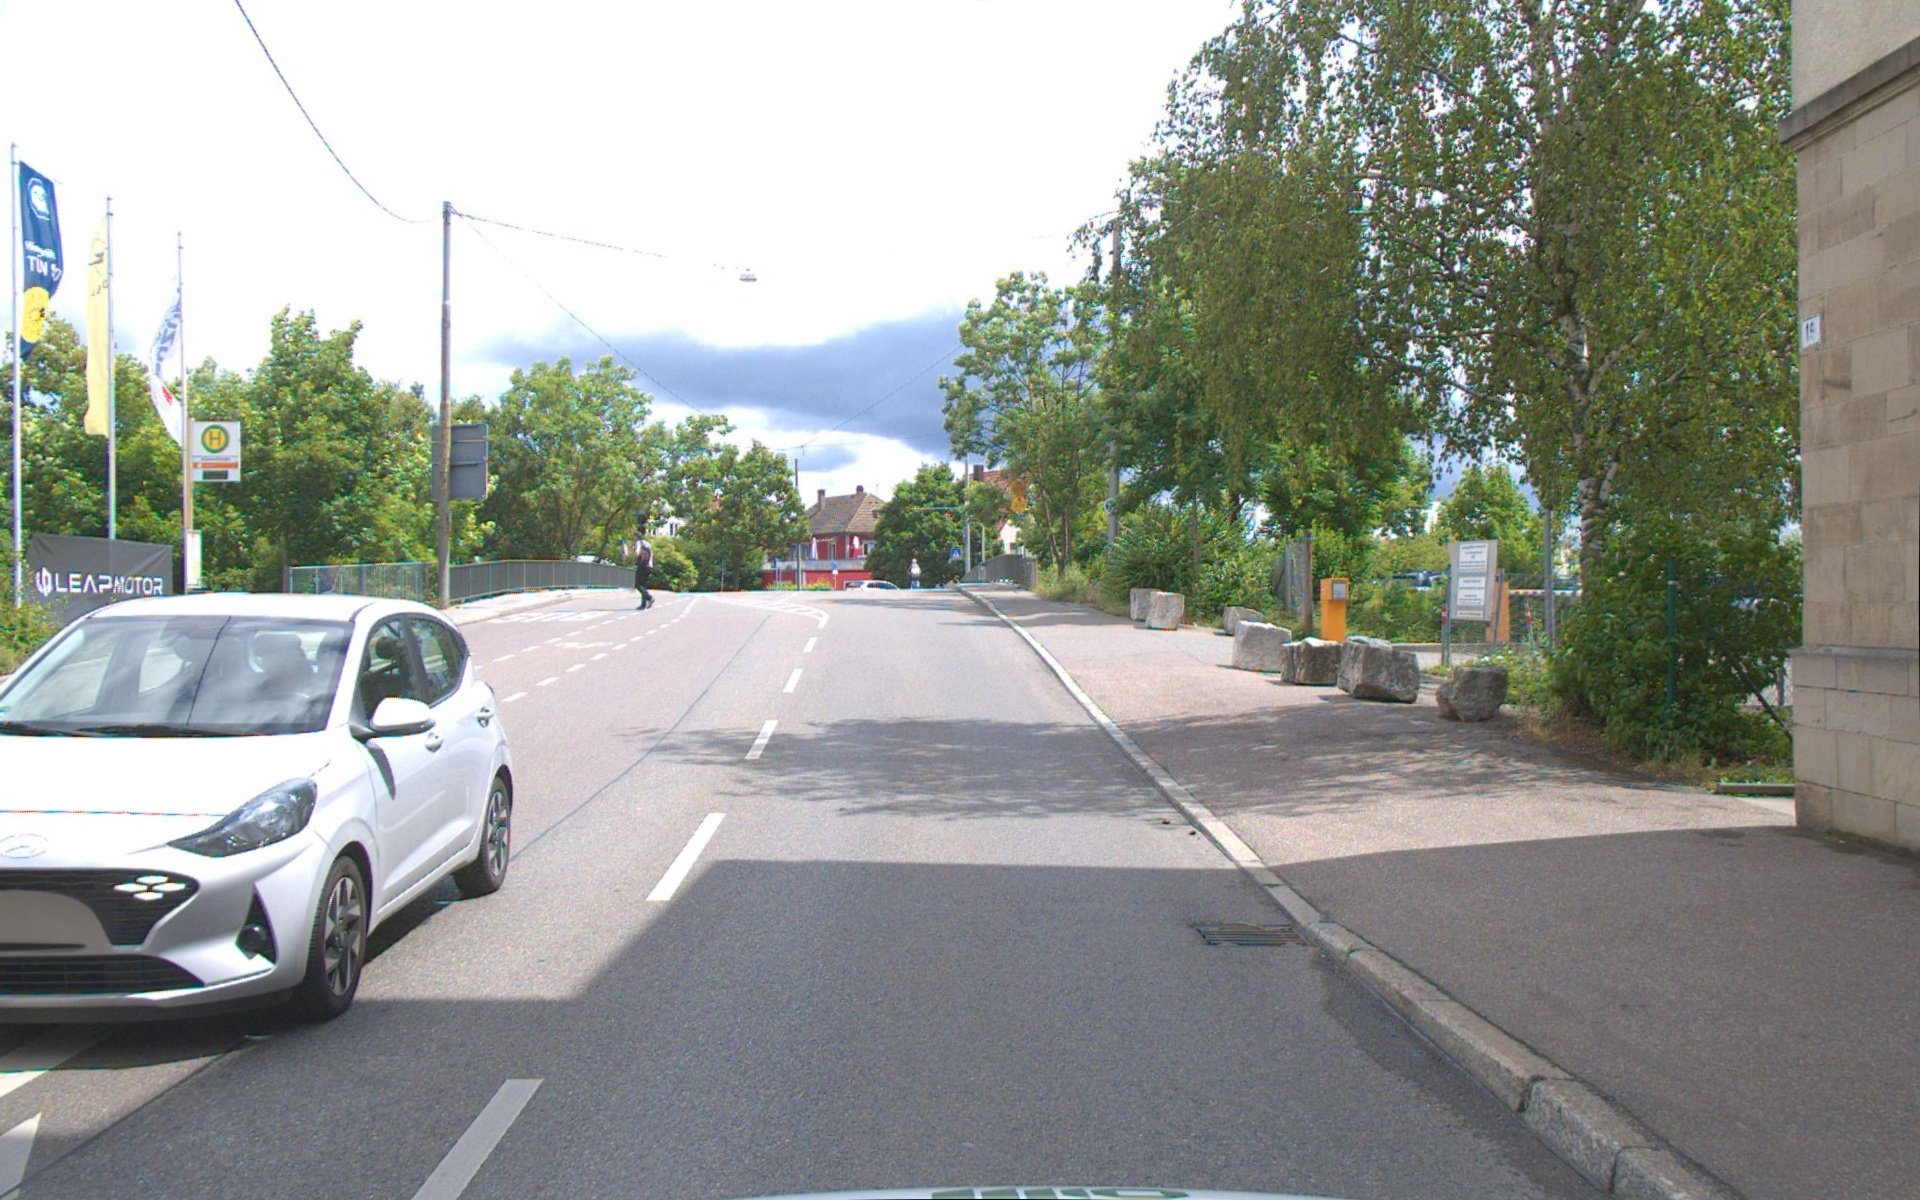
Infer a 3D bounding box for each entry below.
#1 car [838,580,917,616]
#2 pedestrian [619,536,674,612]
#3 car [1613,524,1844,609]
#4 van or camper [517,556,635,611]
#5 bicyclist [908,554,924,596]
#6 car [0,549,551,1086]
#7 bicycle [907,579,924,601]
[{"bbox_3d":[-4.776,-0.098,96.383,1.966,1.863,4.403,1,-2,43],"label":"car"},{"bbox_3d":[-7.850,-0.665,41.475,1.011,1.869,1.000,1,1,14],"label":"pedestrian"},{"bbox_3d":[15.758,-0.669,34.071,3.903,1.512,1.777,3,-1,4],"label":"car"},{"bbox_3d":[-20.514,-0.865,88.548,5.789,2.612,2.193,-2,-3,-1],"label":"van or camper"},{"bbox_3d":[-2.079,-1.169,77.656,0.670,1.858,1.080,0,-4,2],"label":"bicyclist"},{"bbox_3d":[-3.009,0.682,6.989,1.684,1.609,3.997,1,-1,-3],"label":"car"},{"bbox_3d":[-2.092,-0.465,77.618,0.673,0.894,2.102,0,-4,2],"label":"bicycle"}]
